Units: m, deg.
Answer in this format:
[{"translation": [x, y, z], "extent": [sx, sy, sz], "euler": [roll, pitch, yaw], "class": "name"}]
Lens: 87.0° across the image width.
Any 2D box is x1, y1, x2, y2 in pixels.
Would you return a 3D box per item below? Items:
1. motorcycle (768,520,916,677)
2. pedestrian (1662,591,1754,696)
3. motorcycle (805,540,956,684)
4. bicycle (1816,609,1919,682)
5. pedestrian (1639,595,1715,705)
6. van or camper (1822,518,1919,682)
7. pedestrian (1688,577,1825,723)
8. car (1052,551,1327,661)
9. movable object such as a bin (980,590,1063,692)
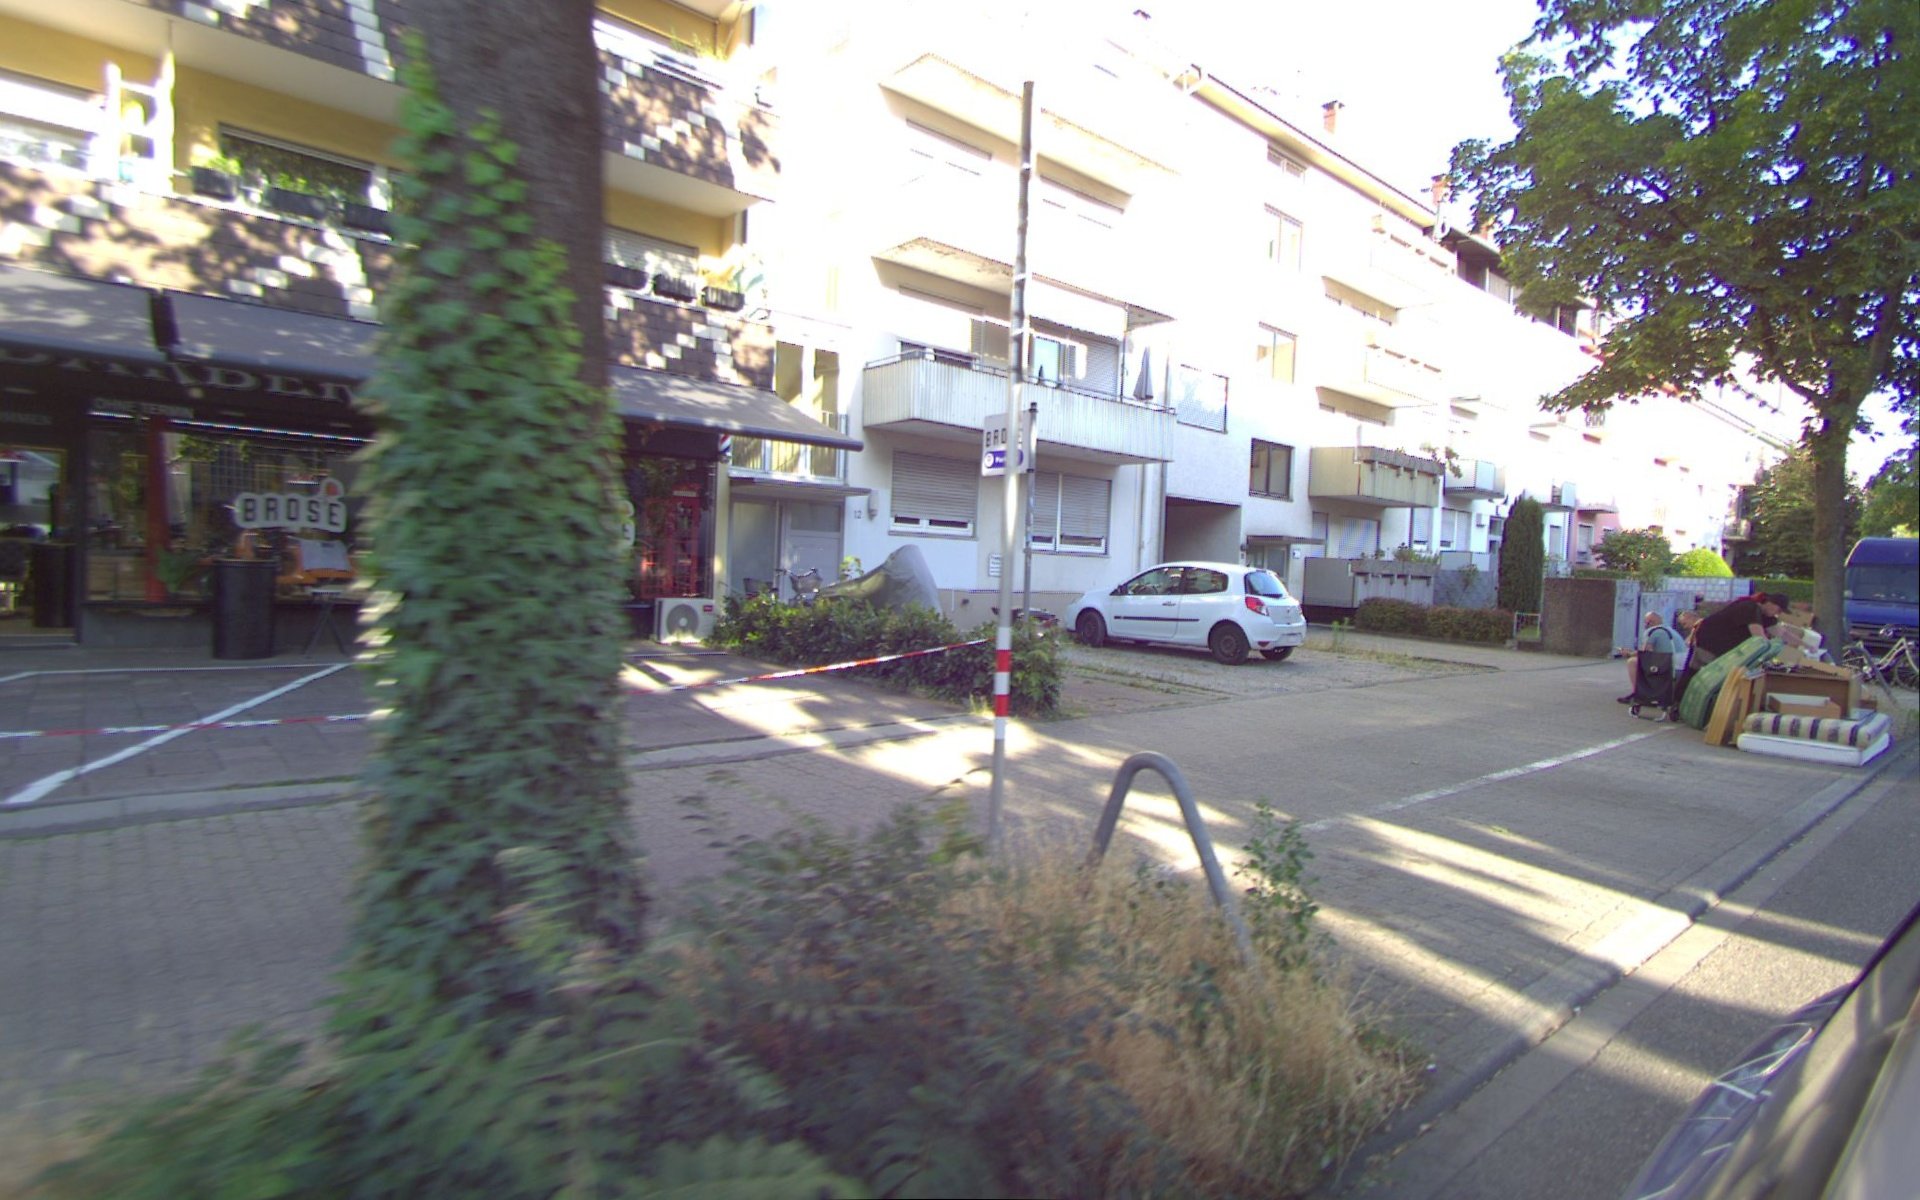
[{"translation": [-1.412, -0.067, 11.684], "extent": [0.717, 1.641, 2.203], "euler": [1, 2, -34], "class": "motorcycle"}, {"translation": [9.682, 0.542, 13.108], "extent": [0.689, 1.270, 0.798], "euler": [1, 2, -43], "class": "pedestrian"}, {"translation": [-1.046, 0.088, 12.676], "extent": [0.872, 1.641, 2.203], "euler": [1, 2, -34], "class": "motorcycle"}, {"translation": [15.416, 0.756, 16.838], "extent": [0.397, 1.102, 1.707], "euler": [1, 2, -37], "class": "bicycle"}, {"translation": [8.777, 0.592, 12.414], "extent": [0.650, 1.270, 0.651], "euler": [3, 2, 30], "class": "pedestrian"}, {"translation": [18.021, -0.032, 18.822], "extent": [5.885, 2.708, 2.072], "euler": [-1, 3, -41], "class": "van or camper"}, {"translation": [8.719, 0.523, 11.122], "extent": [1.057, 1.494, 0.474], "euler": [3, 2, 31], "class": "pedestrian"}, {"translation": [3.598, 0.015, 16.365], "extent": [1.794, 1.480, 3.992], "euler": [1, 3, -43], "class": "car"}, {"translation": [0.621, 0.401, 10.206], "extent": [0.530, 0.961, 0.614], "euler": [1, 2, -40], "class": "movable object such as a bin"}]
